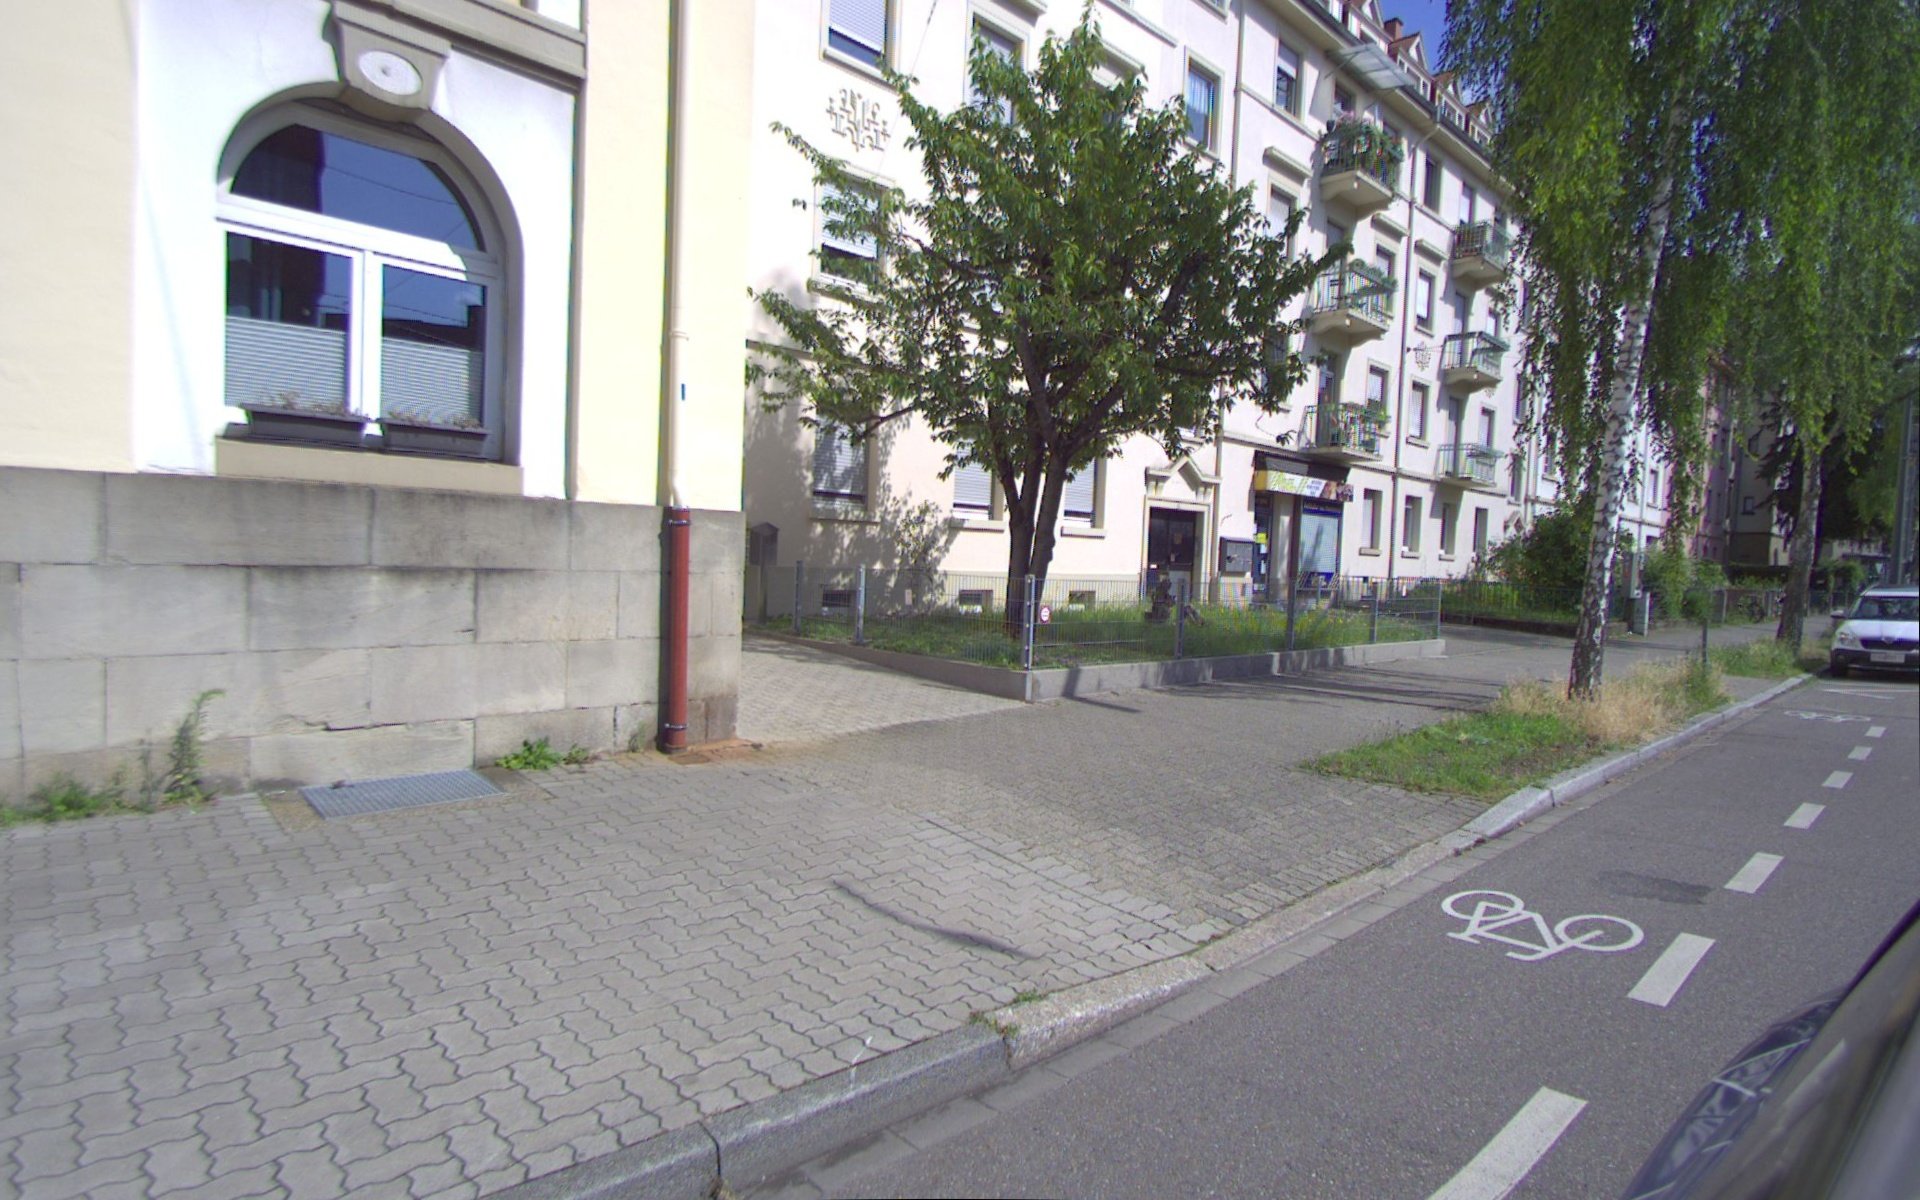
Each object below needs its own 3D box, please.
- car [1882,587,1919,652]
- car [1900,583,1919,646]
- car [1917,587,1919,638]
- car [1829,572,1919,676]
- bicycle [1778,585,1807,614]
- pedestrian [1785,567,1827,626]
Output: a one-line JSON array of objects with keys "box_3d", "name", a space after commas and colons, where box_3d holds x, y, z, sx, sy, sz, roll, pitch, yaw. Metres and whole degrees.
[{"box_3d": [22.808, 0.421, 23.625, 3.733, 1.434, 1.674, -1, 1, -44], "name": "car"}, {"box_3d": [25.848, 0.372, 26.613, 1.494, 1.599, 3.698, 2, 2, 45], "name": "car"}, {"box_3d": [29.761, 0.357, 30.189, 3.780, 1.471, 1.590, -1, 0, -44], "name": "car"}, {"box_3d": [16.622, 0.368, 17.601, 3.930, 1.650, 1.724, 0, 1, -41], "name": "car"}, {"box_3d": [32.162, -0.027, 39.087, 2.145, 1.090, 0.472, 0, 4, -42], "name": "bicycle"}, {"box_3d": [25.628, -0.103, 30.648, 0.678, 1.703, 0.732, 1, 5, -40], "name": "pedestrian"}]
